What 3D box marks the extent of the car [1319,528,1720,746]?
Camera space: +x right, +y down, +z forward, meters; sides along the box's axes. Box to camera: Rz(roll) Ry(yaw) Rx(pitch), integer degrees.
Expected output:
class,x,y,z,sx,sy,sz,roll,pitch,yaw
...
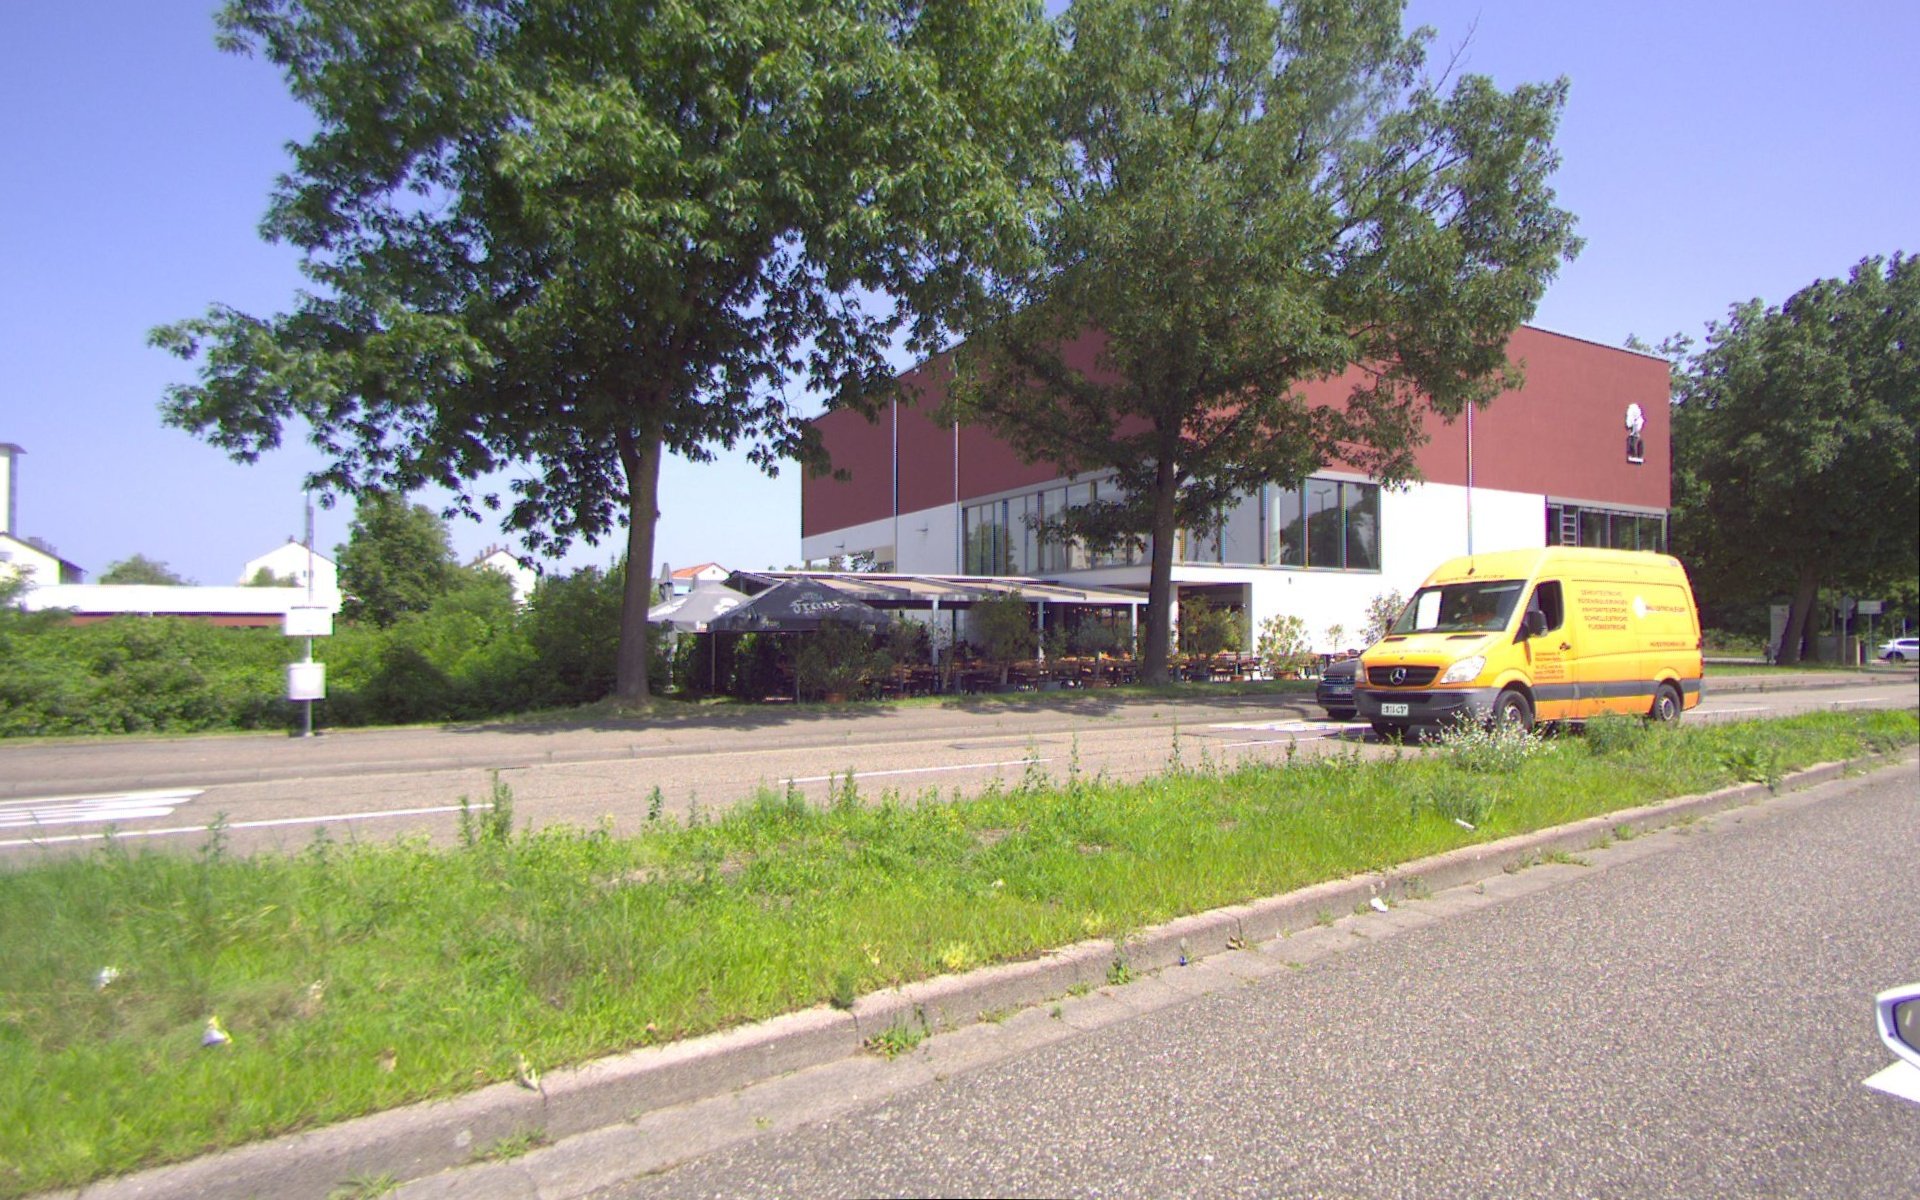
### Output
class,x,y,z,sx,sy,sz,roll,pitch,yaw
car,8.173,0.535,14.516,5.985,2.601,2.255,1,-3,-30

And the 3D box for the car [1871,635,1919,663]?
class,x,y,z,sx,sy,sz,roll,pitch,yaw
car,62.363,3.219,65.362,1.793,1.704,4.340,2,0,-36

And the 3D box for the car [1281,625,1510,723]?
class,x,y,z,sx,sy,sz,roll,pitch,yaw
car,8.087,1.327,18.590,4.162,1.624,1.709,1,-4,-30

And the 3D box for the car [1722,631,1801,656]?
class,x,y,z,sx,sy,sz,roll,pitch,yaw
car,60.127,3.260,75.396,1.795,1.704,4.335,2,-1,-39
